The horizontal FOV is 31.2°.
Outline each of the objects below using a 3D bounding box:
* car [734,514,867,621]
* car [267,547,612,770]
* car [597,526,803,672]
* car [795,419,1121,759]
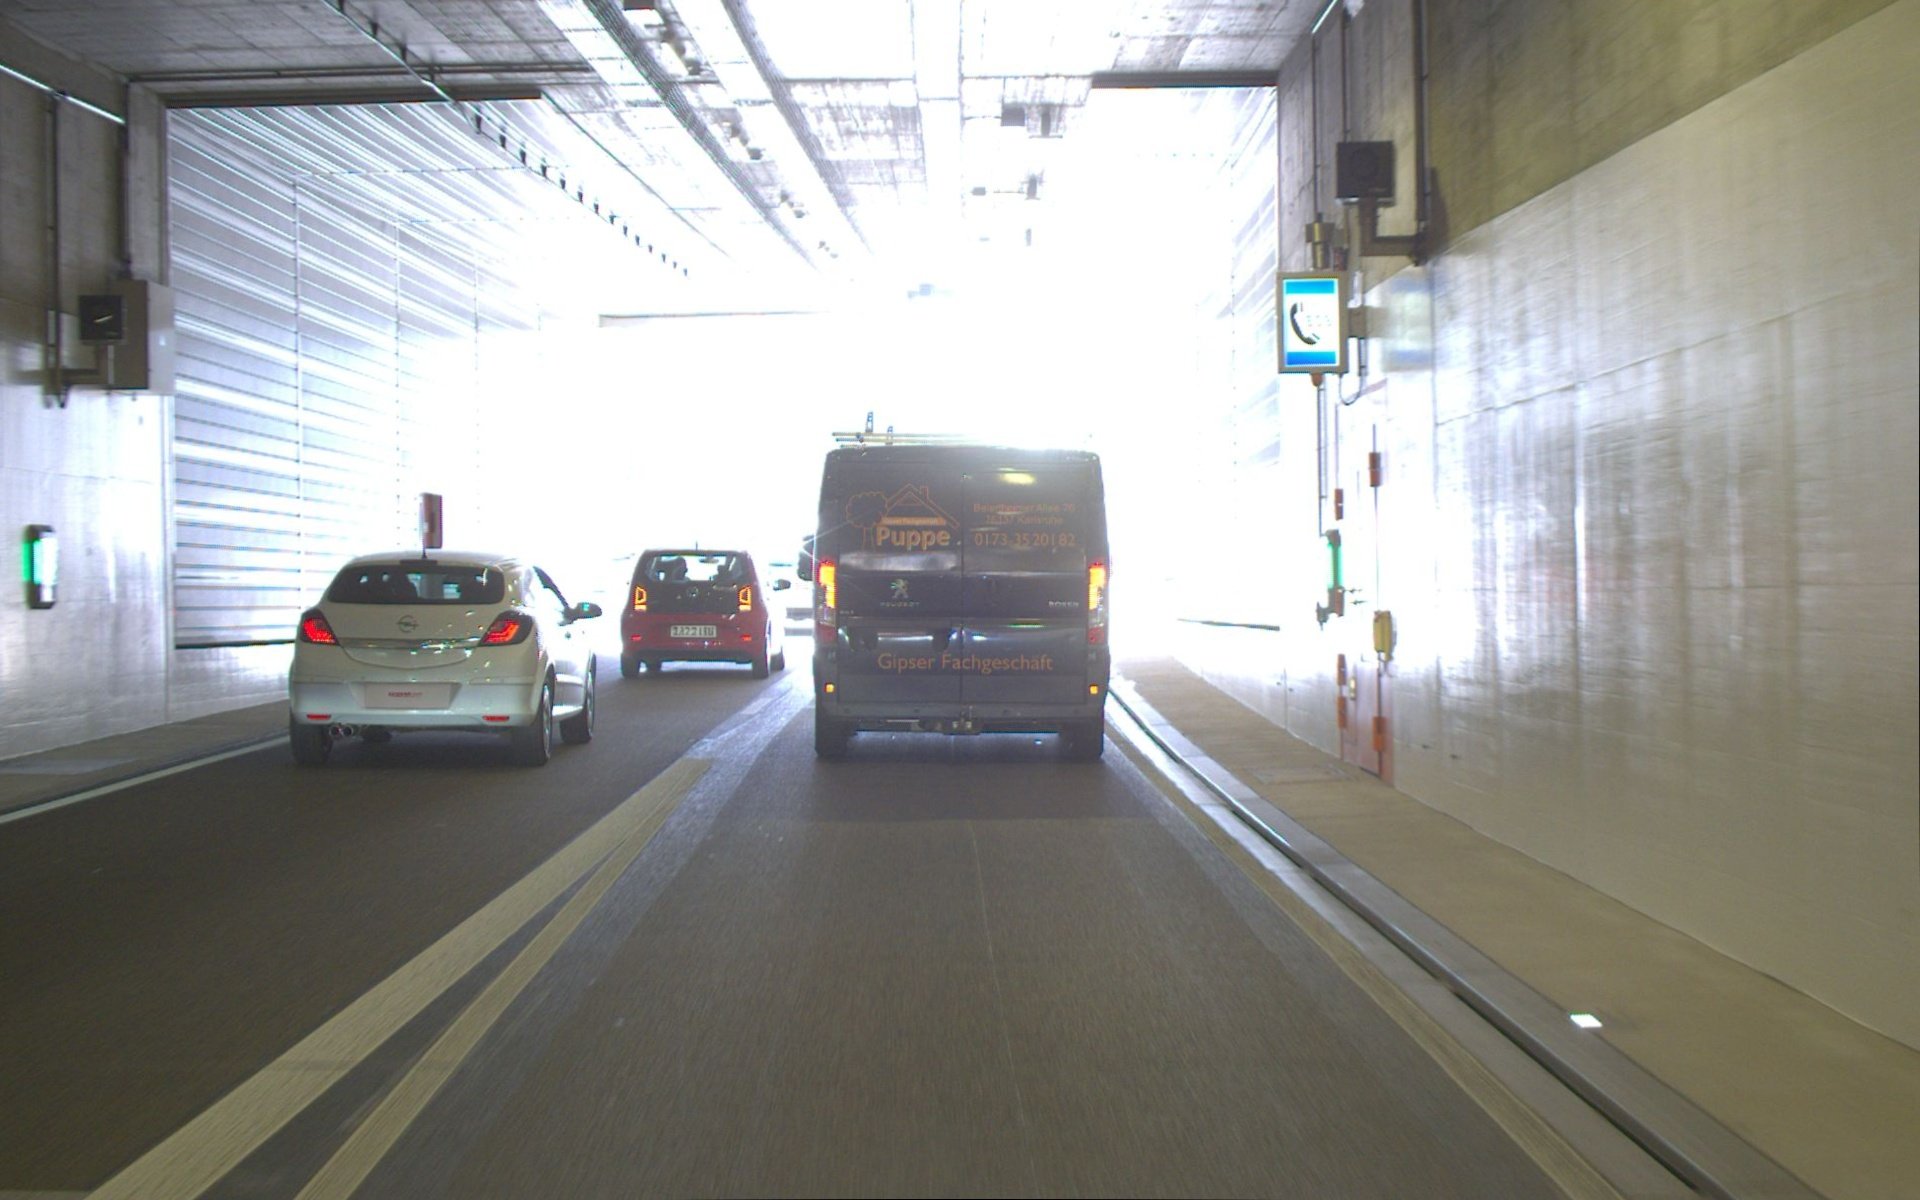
[{"bbox_3d":[-2.480,-0.483,54.429,1.876,1.576,4.220,1,0,0],"label":"car"},{"bbox_3d":[-3.529,0.344,23.970,1.709,1.408,3.974,0,1,1],"label":"car"},{"bbox_3d":[-2.863,-0.054,38.703,1.815,1.507,4.220,1,1,2],"label":"car"},{"bbox_3d":[-0.002,-0.136,25.319,2.158,2.258,4.637,0,2,0],"label":"car"}]
